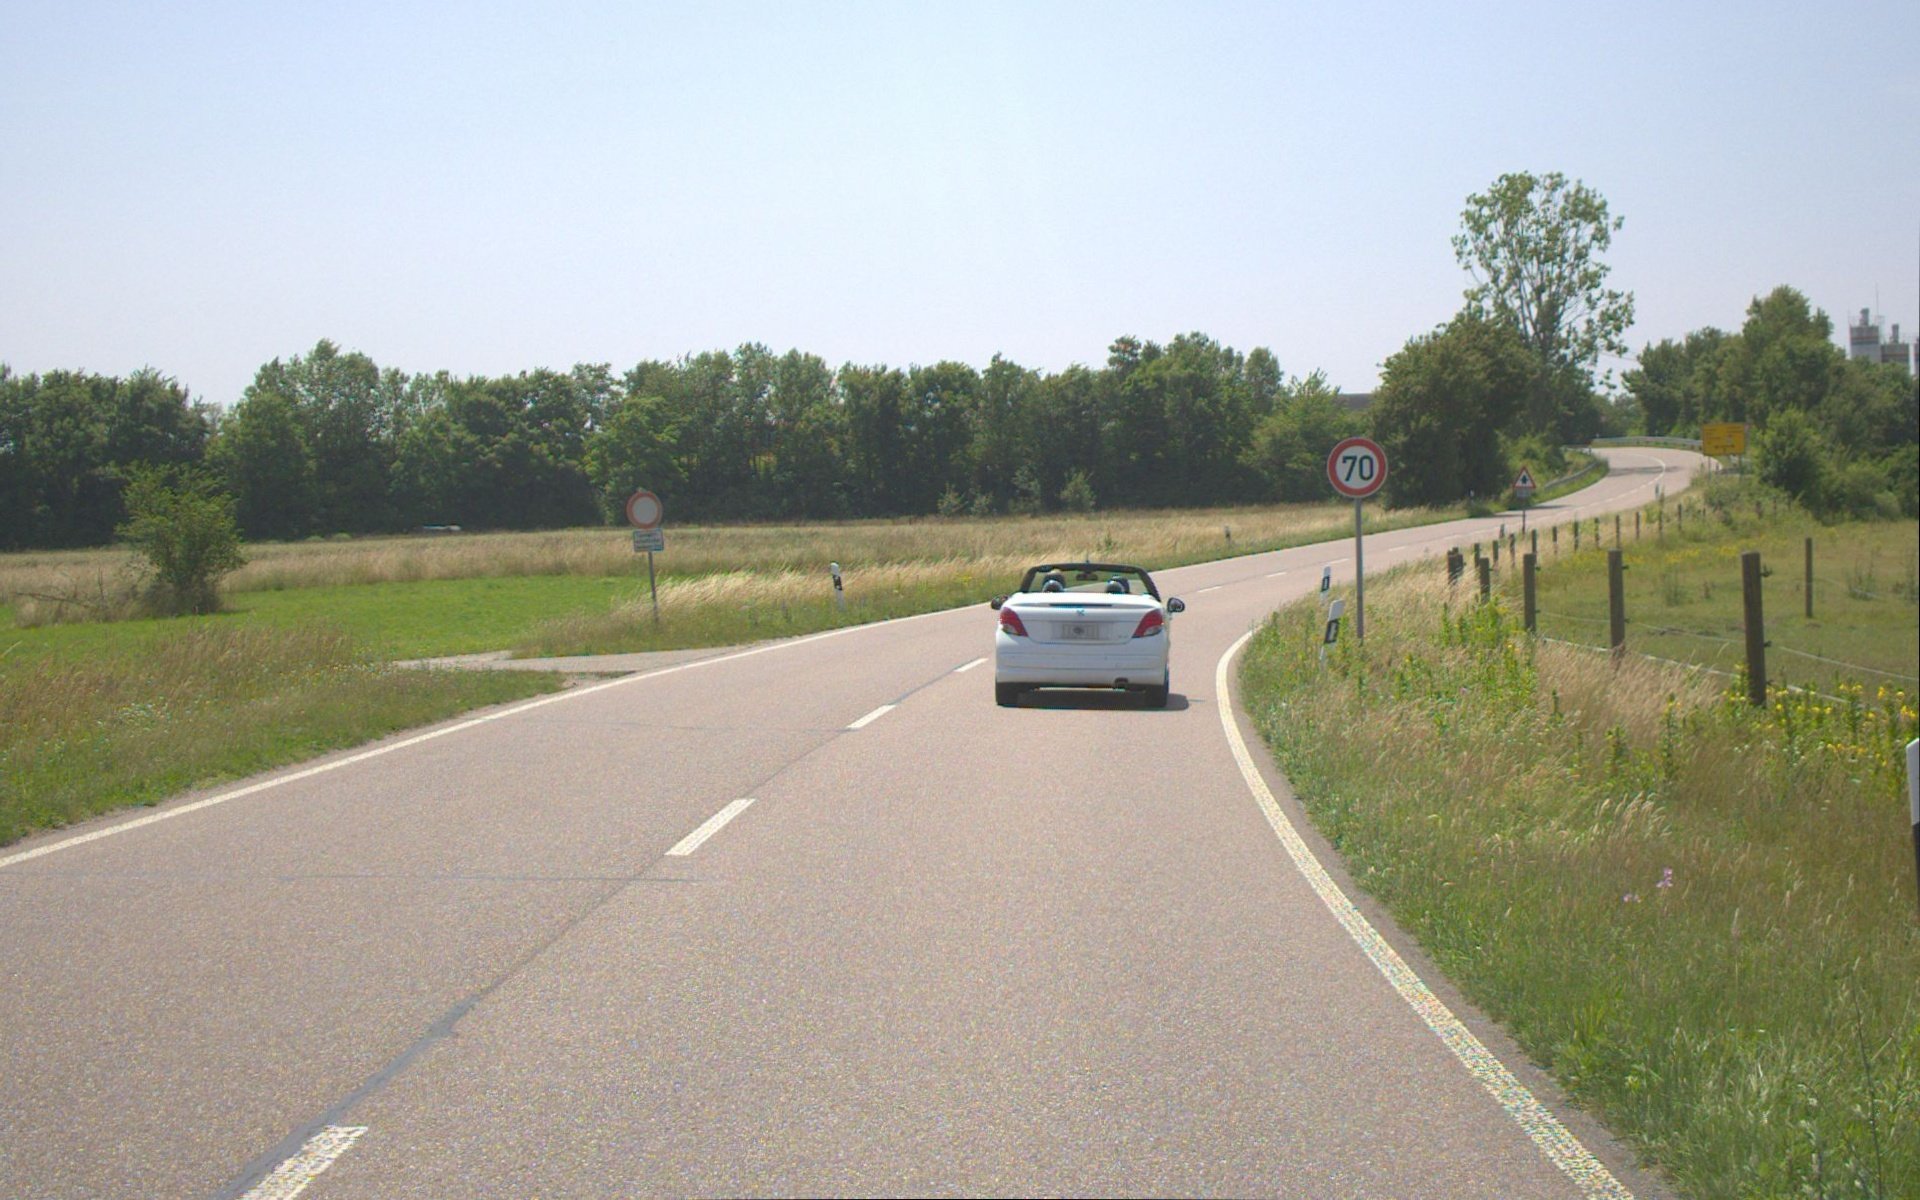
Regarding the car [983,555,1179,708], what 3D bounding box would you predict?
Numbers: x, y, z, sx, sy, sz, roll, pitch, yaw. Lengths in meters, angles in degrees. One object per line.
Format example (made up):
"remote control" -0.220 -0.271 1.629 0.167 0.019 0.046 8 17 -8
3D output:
"car" 1.234 0.272 34.692 1.851 1.374 4.000 1 2 2
